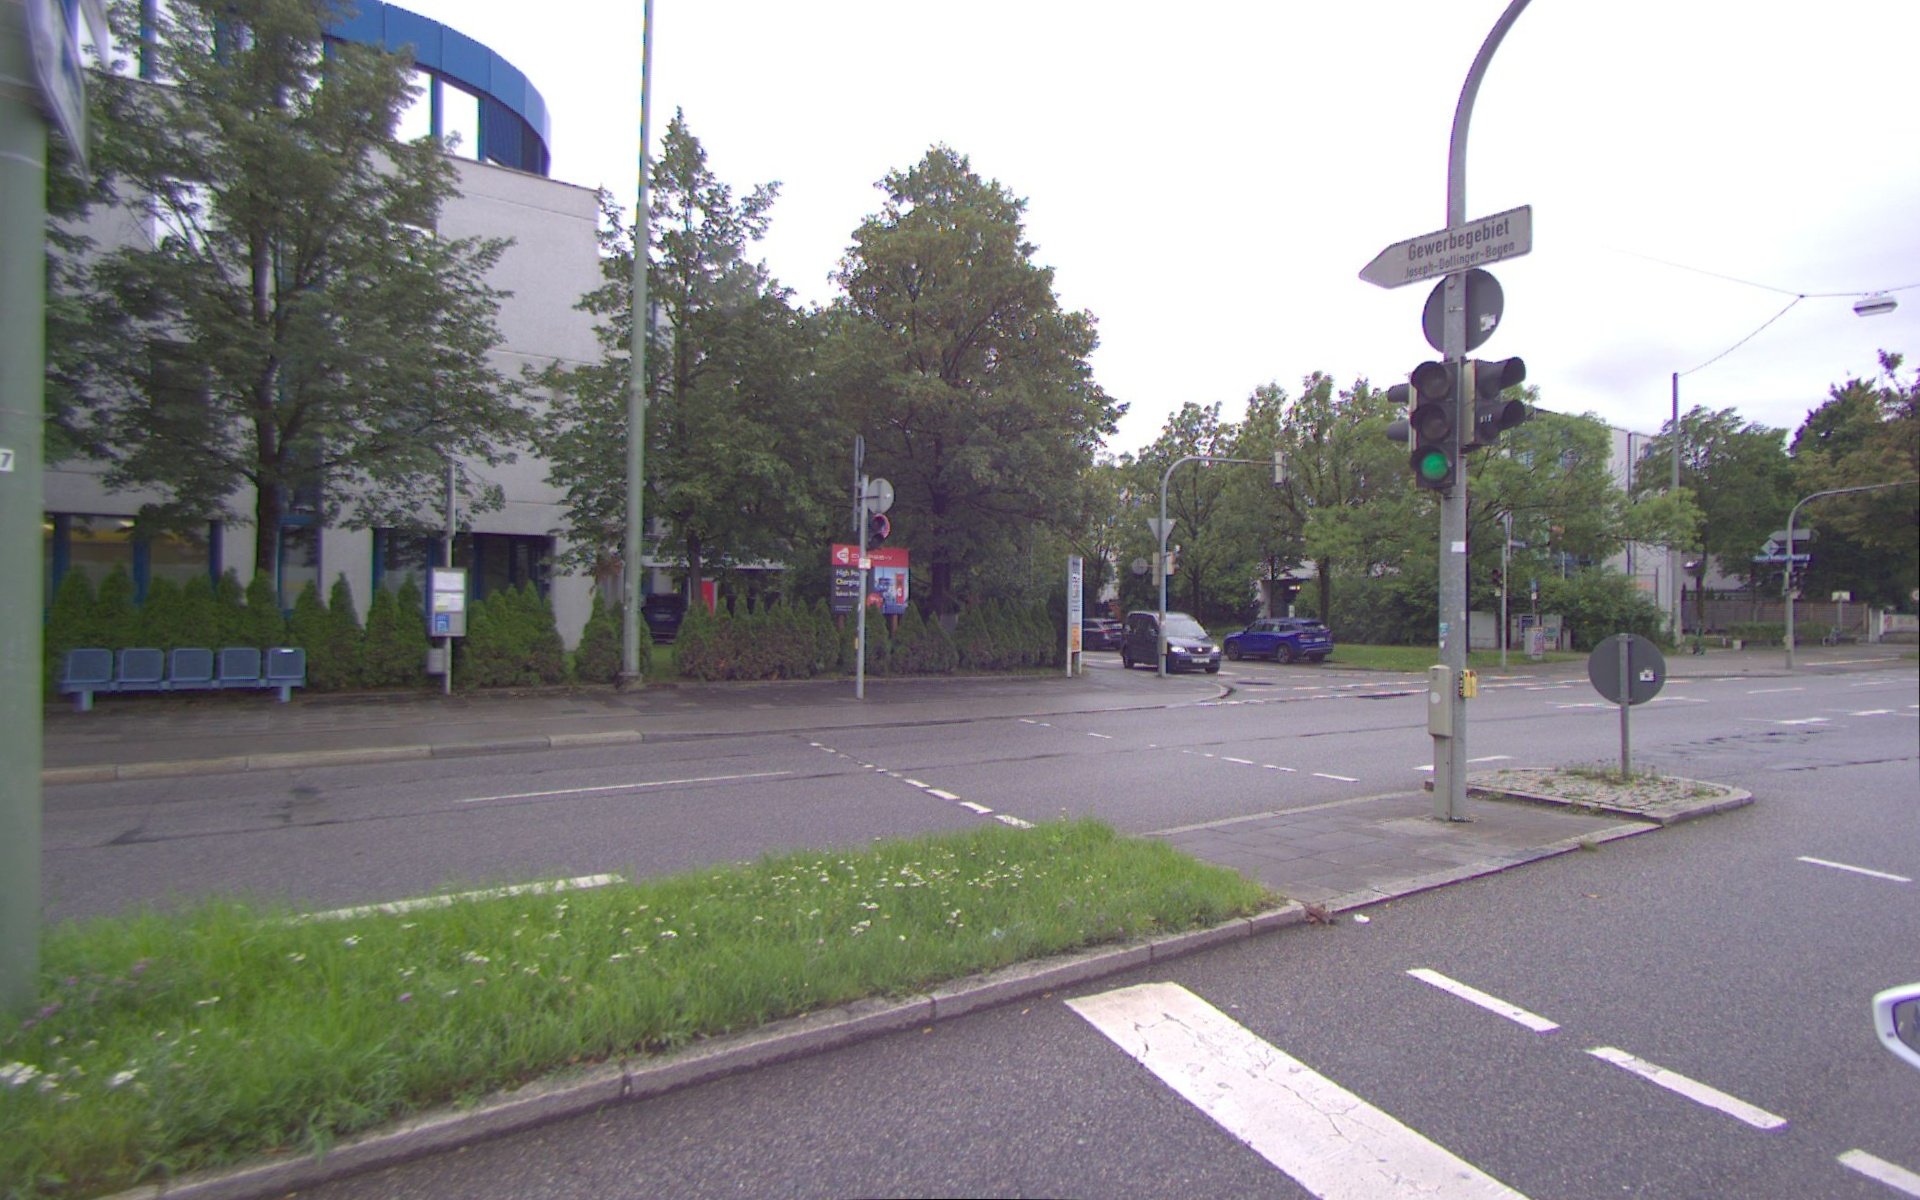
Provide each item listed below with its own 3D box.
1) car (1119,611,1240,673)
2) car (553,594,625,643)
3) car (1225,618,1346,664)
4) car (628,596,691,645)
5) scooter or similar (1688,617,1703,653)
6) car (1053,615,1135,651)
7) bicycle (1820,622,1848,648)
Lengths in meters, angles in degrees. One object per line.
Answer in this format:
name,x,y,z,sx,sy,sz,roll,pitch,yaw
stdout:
car,6.680,1.278,31.164,1.965,1.745,4.782,1,-2,-11
car,-11.715,0.558,31.950,1.839,1.437,4.161,1,0,-17
car,12.252,1.502,38.089,1.973,1.595,4.257,-2,0,-25
car,-9.736,0.620,32.621,1.839,1.437,4.161,1,0,-17
scooter or similar,30.181,1.407,41.188,0.366,1.443,1.398,1,0,40
car,6.436,1.587,48.706,1.743,1.595,4.130,-1,-1,-31
bicycle,45.662,1.803,52.447,2.431,1.313,0.578,1,0,-37
